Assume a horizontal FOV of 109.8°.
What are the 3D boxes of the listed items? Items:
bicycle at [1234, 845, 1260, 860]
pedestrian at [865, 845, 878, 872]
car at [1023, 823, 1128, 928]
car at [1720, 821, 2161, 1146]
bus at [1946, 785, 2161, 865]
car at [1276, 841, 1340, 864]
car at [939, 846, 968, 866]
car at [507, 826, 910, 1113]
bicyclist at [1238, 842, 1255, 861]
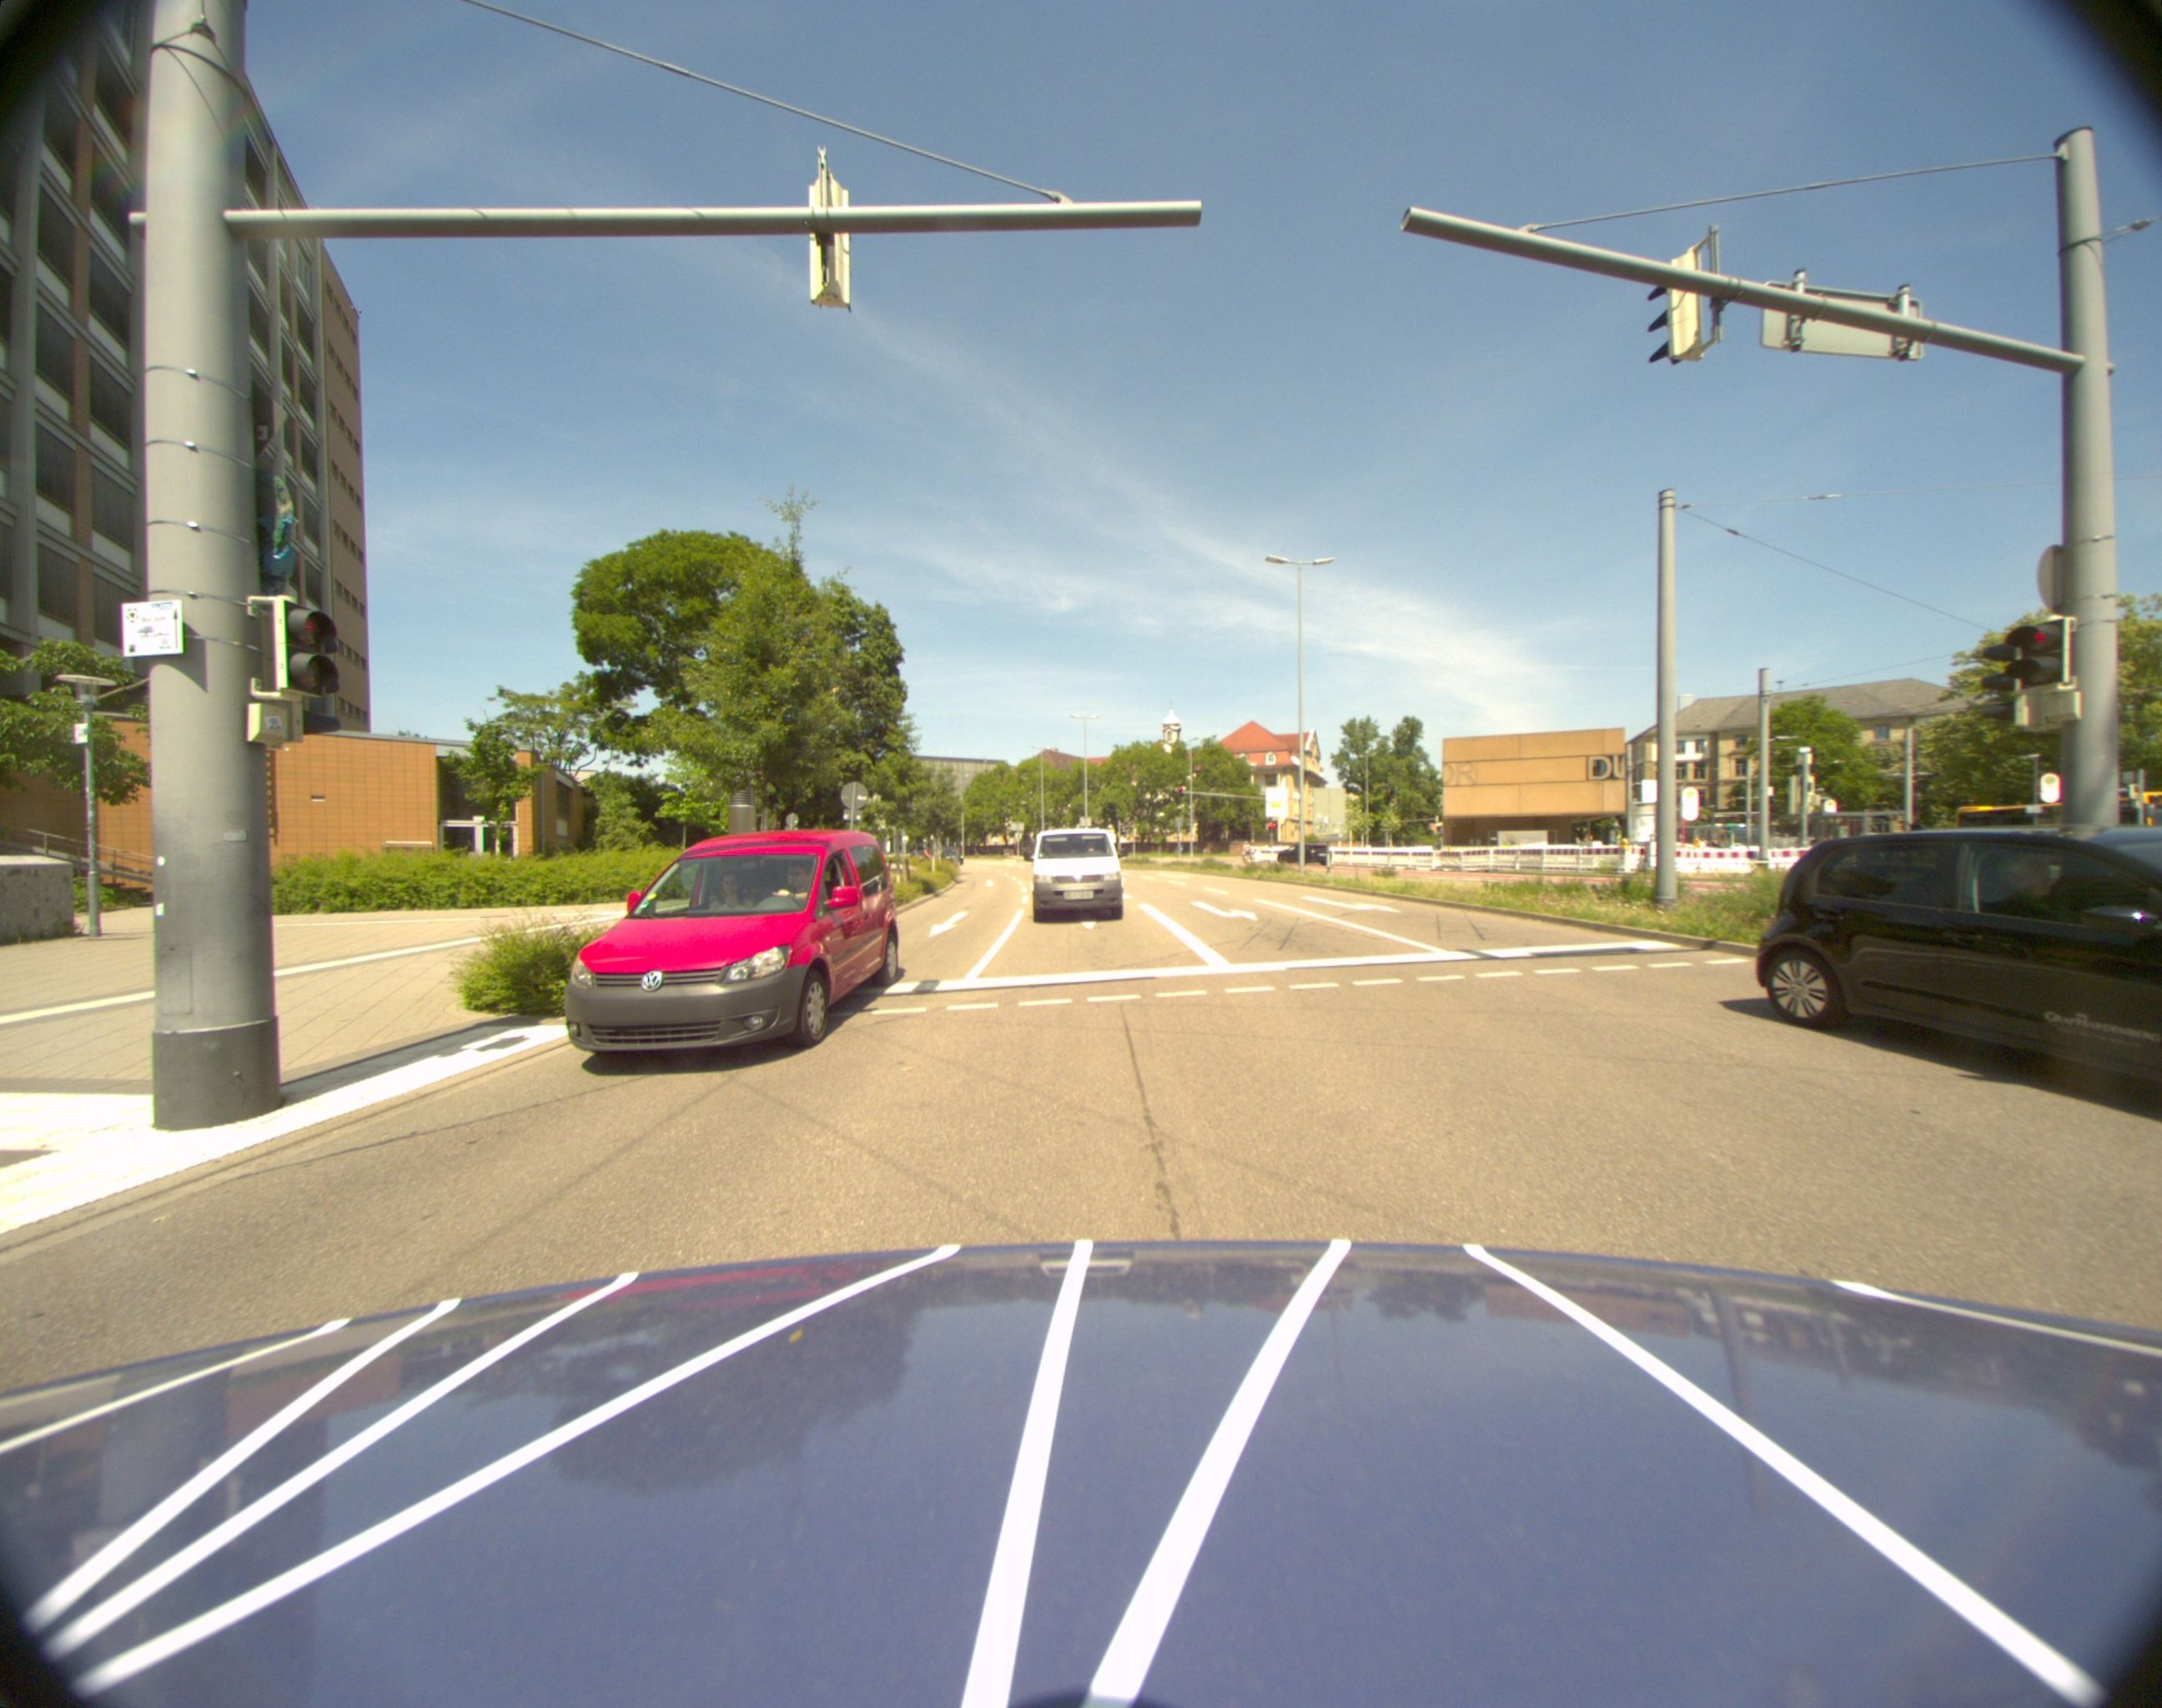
[{"bbox_3d":[12.380,-0.114,56.643,0.879,1.066,2.228,-3,2,-16],"label":"bicycle"},{"bbox_3d":[-14.125,0.305,51.215,0.728,1.788,0.613,-1,1,-1],"label":"pedestrian"},{"bbox_3d":[-0.169,0.383,17.254,1.971,1.958,4.847,-2,1,-1],"label":"car"},{"bbox_3d":[6.077,0.606,4.311,1.748,1.567,3.737,-1,1,0],"label":"car"},{"bbox_3d":[43.584,-1.185,33.414,2.849,2.998,12.241,0,1,26],"label":"bus"},{"bbox_3d":[15.179,-0.134,51.136,2.001,1.457,4.839,-1,1,-14],"label":"car"},{"bbox_3d":[-12.943,0.177,76.833,2.002,2.002,3.992,-1,1,-23],"label":"car"},{"bbox_3d":[-2.962,0.737,7.297,1.655,1.848,4.544,-2,1,-1],"label":"car"},{"bbox_3d":[12.294,-0.201,56.564,0.587,1.348,1.437,-3,2,-16],"label":"bicyclist"}]
